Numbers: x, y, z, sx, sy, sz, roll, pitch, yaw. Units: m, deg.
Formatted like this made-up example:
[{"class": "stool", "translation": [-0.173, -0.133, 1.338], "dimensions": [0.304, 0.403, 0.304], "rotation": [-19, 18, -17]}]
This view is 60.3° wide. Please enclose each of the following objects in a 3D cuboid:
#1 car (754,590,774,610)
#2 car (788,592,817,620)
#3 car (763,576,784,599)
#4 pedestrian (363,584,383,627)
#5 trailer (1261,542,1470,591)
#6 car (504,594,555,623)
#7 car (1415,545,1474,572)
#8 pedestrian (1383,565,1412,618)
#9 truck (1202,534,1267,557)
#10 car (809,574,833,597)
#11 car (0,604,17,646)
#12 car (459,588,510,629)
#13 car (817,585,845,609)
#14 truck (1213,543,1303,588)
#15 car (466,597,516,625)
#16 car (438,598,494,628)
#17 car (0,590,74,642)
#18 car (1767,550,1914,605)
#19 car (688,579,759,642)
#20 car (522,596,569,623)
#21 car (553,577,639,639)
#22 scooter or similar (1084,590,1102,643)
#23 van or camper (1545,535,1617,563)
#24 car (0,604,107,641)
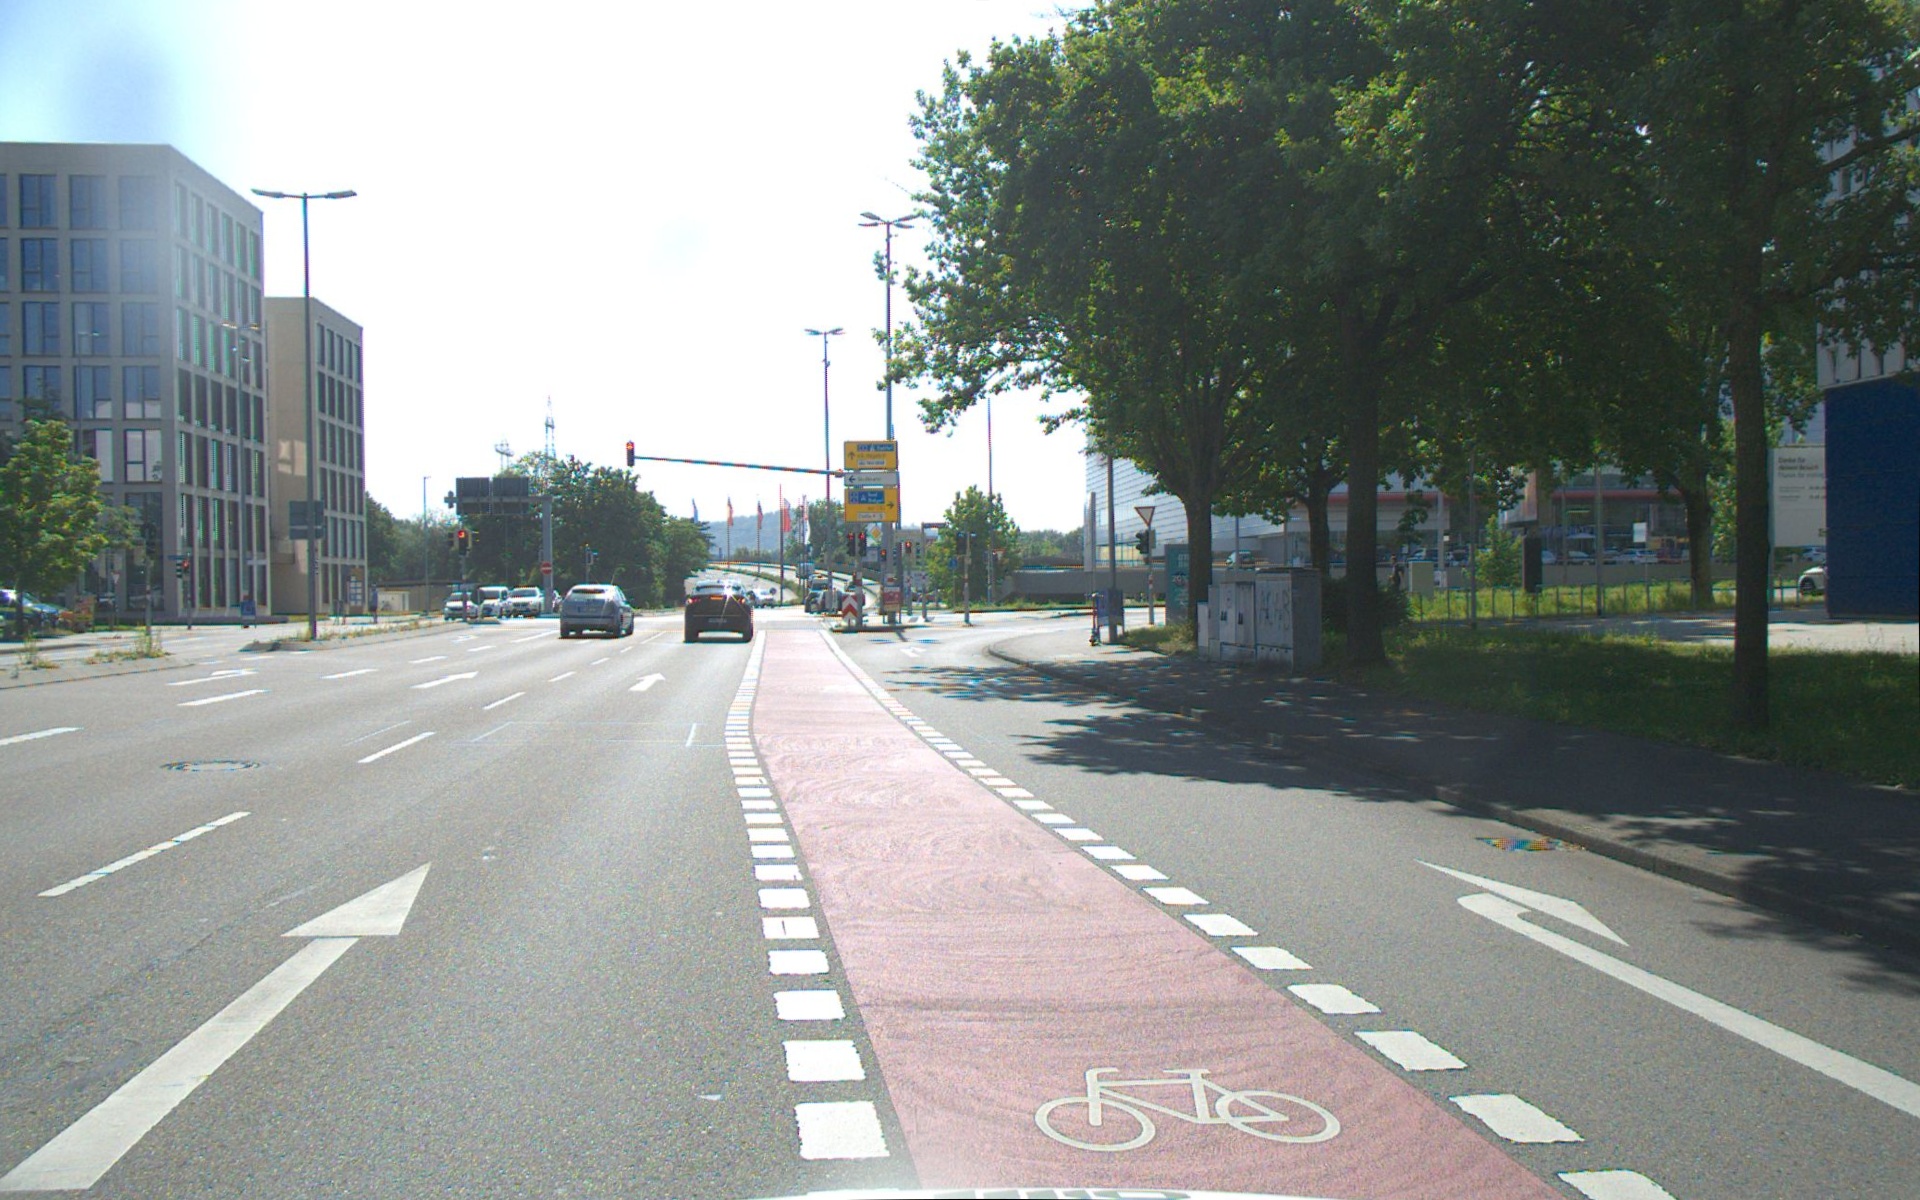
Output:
[{"class": "car", "translation": [-17.789, -0.006, 149.853], "dimensions": [1.727, 1.825, 3.341], "rotation": [-1, 0, -8]}, {"class": "car", "translation": [-10.789, 0.376, 113.121], "dimensions": [1.725, 1.789, 3.596], "rotation": [1, 1, -9]}, {"class": "car", "translation": [-17.807, -1.185, 158.027], "dimensions": [1.955, 2.048, 3.977], "rotation": [1, 1, -6]}, {"class": "pedestrian", "translation": [-28.511, 0.247, 80.361], "dimensions": [0.748, 2.048, 0.924], "rotation": [1, 1, -31]}, {"class": "trailer", "translation": [23.466, -1.947, 96.030], "dimensions": [11.629, 2.512, 2.000], "rotation": [1, 1, -1]}, {"class": "car", "translation": [-23.236, 0.425, 89.352], "dimensions": [1.779, 1.489, 3.999], "rotation": [-1, 0, -2]}, {"class": "car", "translation": [37.982, -3.241, 129.637], "dimensions": [3.912, 2.048, 1.997], "rotation": [1, 1, -8]}, {"class": "pedestrian", "translation": [15.087, -0.291, 57.023], "dimensions": [0.617, 1.801, 0.802], "rotation": [-1, 0, -17]}, {"class": "truck", "translation": [26.329, -5.196, 158.823], "dimensions": [5.793, 2.048, 1.999], "rotation": [1, 1, -4]}, {"class": "car", "translation": [-13.339, -1.430, 159.150], "dimensions": [1.953, 2.048, 4.000], "rotation": [1, 1, -1]}, {"class": "car", "translation": [-32.805, 0.844, 53.719], "dimensions": [3.344, 1.366, 1.644], "rotation": [-1, 0, -4]}, {"class": "car", "translation": [-16.915, 0.276, 58.942], "dimensions": [1.191, 1.354, 2.797], "rotation": [1, 1, -4]}, {"class": "car", "translation": [-7.953, -0.208, 102.363], "dimensions": [1.655, 1.382, 3.997], "rotation": [1, 1, -4]}, {"class": "truck", "translation": [17.268, -2.002, 95.995], "dimensions": [4.781, 2.466, 2.000], "rotation": [1, 1, -1]}, {"class": "car", "translation": [-26.981, 0.621, 95.266], "dimensions": [1.779, 1.489, 3.999], "rotation": [-1, 0, -2]}, {"class": "car", "translation": [-26.204, 0.666, 87.837], "dimensions": [1.854, 1.489, 3.999], "rotation": [-1, 0, -2]}, {"class": "car", "translation": [-39.586, 0.661, 68.299], "dimensions": [4.818, 2.086, 1.998], "rotation": [-1, 0, -5]}, {"class": "car", "translation": [25.373, -0.630, 47.806], "dimensions": [1.753, 1.515, 3.919], "rotation": [-1, 0, -8]}, {"class": "car", "translation": [-6.655, 0.267, 46.897], "dimensions": [1.772, 1.668, 4.453], "rotation": [-1, 1, -6]}, {"class": "car", "translation": [-24.113, 0.516, 96.262], "dimensions": [1.779, 1.489, 3.999], "rotation": [-1, 0, -2]}, {"class": "car", "translation": [-10.688, 0.200, 48.858], "dimensions": [1.955, 1.713, 3.996], "rotation": [-1, 0, -5]}, {"class": "scooter or similar", "translation": [3.238, 0.392, 40.352], "dimensions": [0.343, 1.255, 1.312], "rotation": [-1, 0, 7]}, {"class": "van or camper", "translation": [48.708, -4.021, 129.850], "dimensions": [4.889, 2.048, 1.997], "rotation": [1, 1, -7]}, {"class": "car", "translation": [-39.449, 0.960, 71.666], "dimensions": [3.909, 1.489, 1.998], "rotation": [-1, 0, -5]}]
